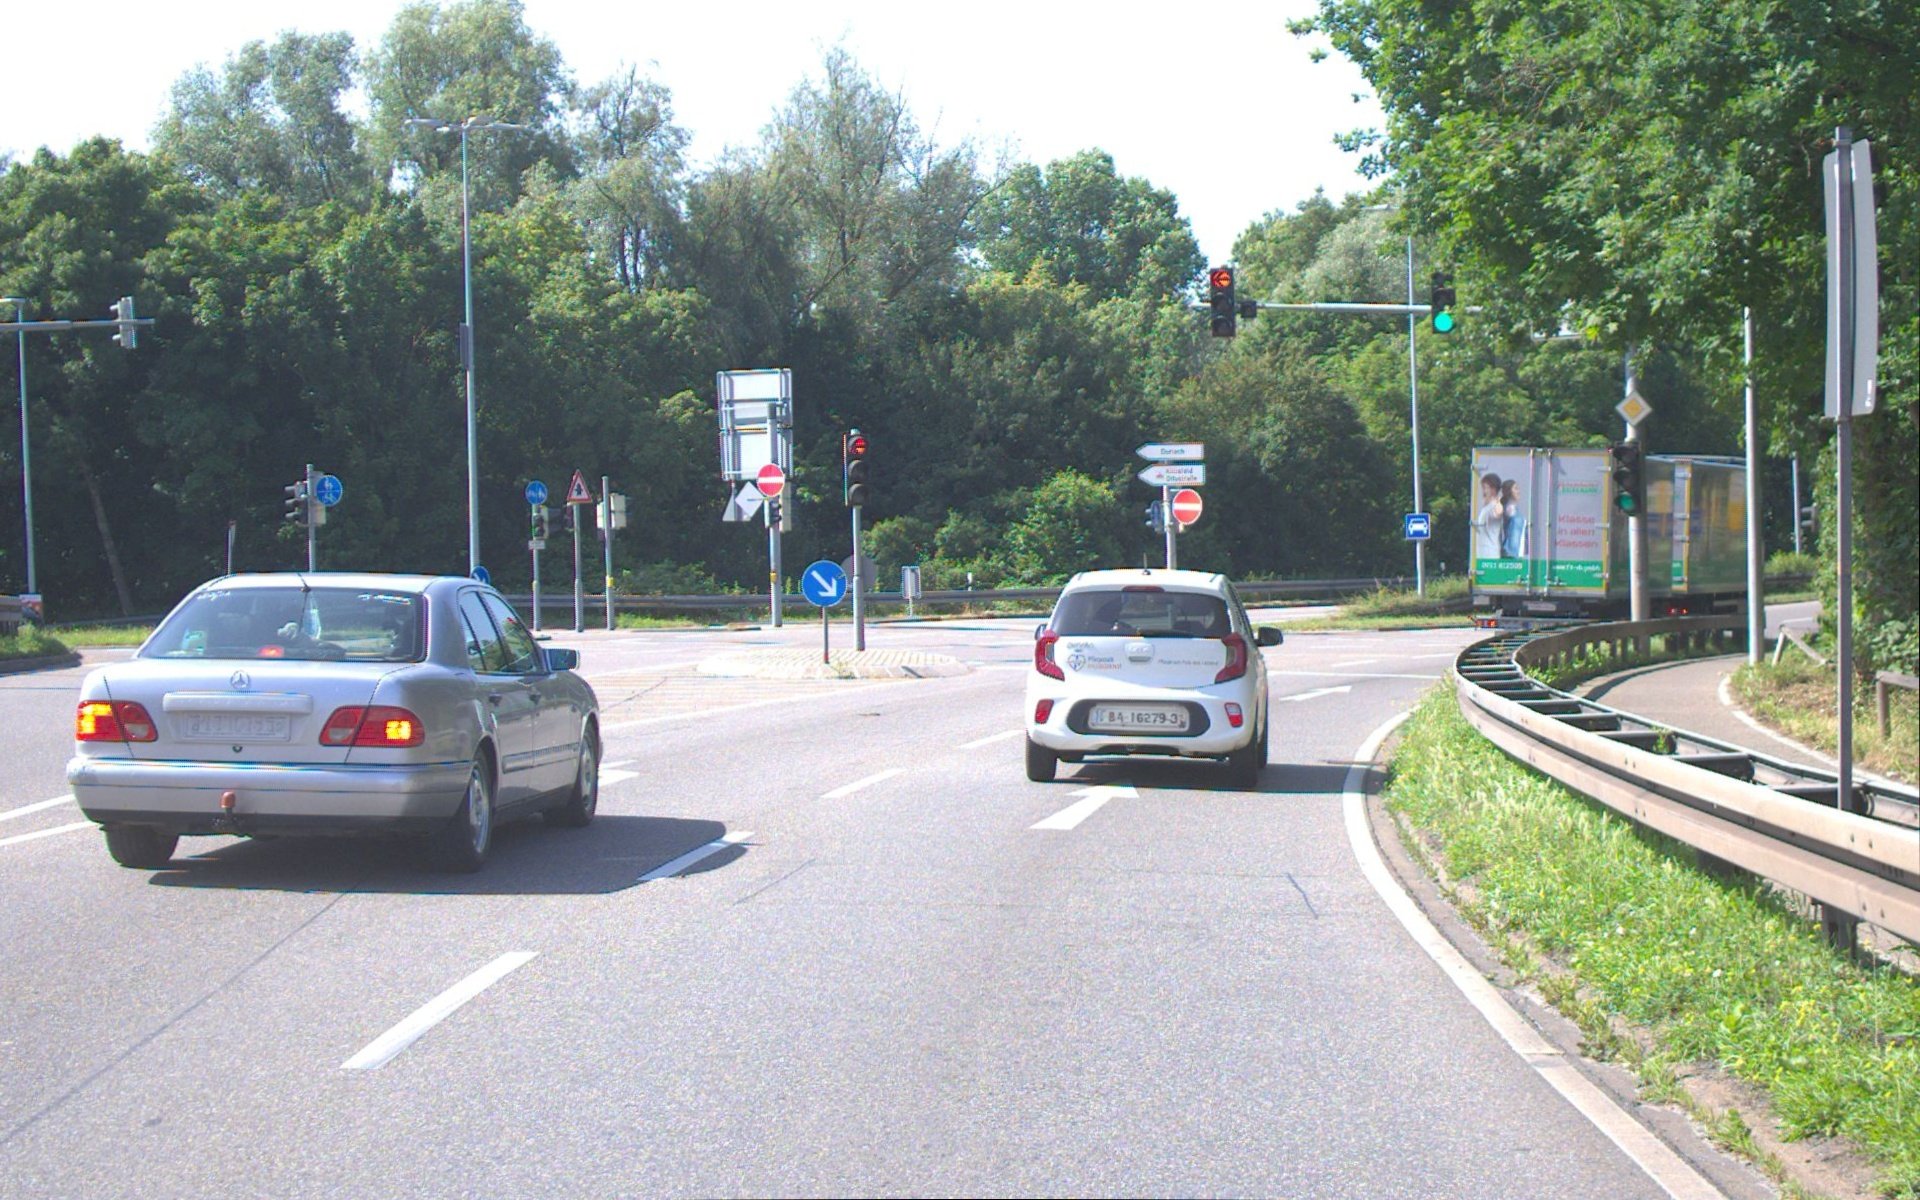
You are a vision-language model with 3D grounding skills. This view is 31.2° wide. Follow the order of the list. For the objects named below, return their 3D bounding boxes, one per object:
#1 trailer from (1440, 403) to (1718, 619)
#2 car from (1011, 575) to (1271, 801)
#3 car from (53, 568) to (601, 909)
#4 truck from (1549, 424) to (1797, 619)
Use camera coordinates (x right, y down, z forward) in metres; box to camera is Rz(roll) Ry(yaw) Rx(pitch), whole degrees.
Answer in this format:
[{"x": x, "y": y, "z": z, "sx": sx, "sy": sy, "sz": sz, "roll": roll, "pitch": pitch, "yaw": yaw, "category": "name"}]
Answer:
[{"x": 11.728, "y": -1.584, "z": 64.493, "sx": 3.228, "sy": 3.745, "sz": 7.814, "roll": 3, "pitch": 1, "yaw": 24, "category": "trailer"}, {"x": 1.248, "y": 0.589, "z": 25.189, "sx": 1.701, "sy": 1.489, "sz": 4.000, "roll": 1, "pitch": 0, "yaw": 1, "category": "car"}, {"x": -3.049, "y": 0.588, "z": 17.607, "sx": 1.939, "sy": 1.481, "sz": 4.900, "roll": 1, "pitch": 1, "yaw": -1, "category": "car"}, {"x": 15.024, "y": -1.557, "z": 71.879, "sx": 3.264, "sy": 3.745, "sz": 8.360, "roll": 3, "pitch": 1, "yaw": 24, "category": "truck"}]
